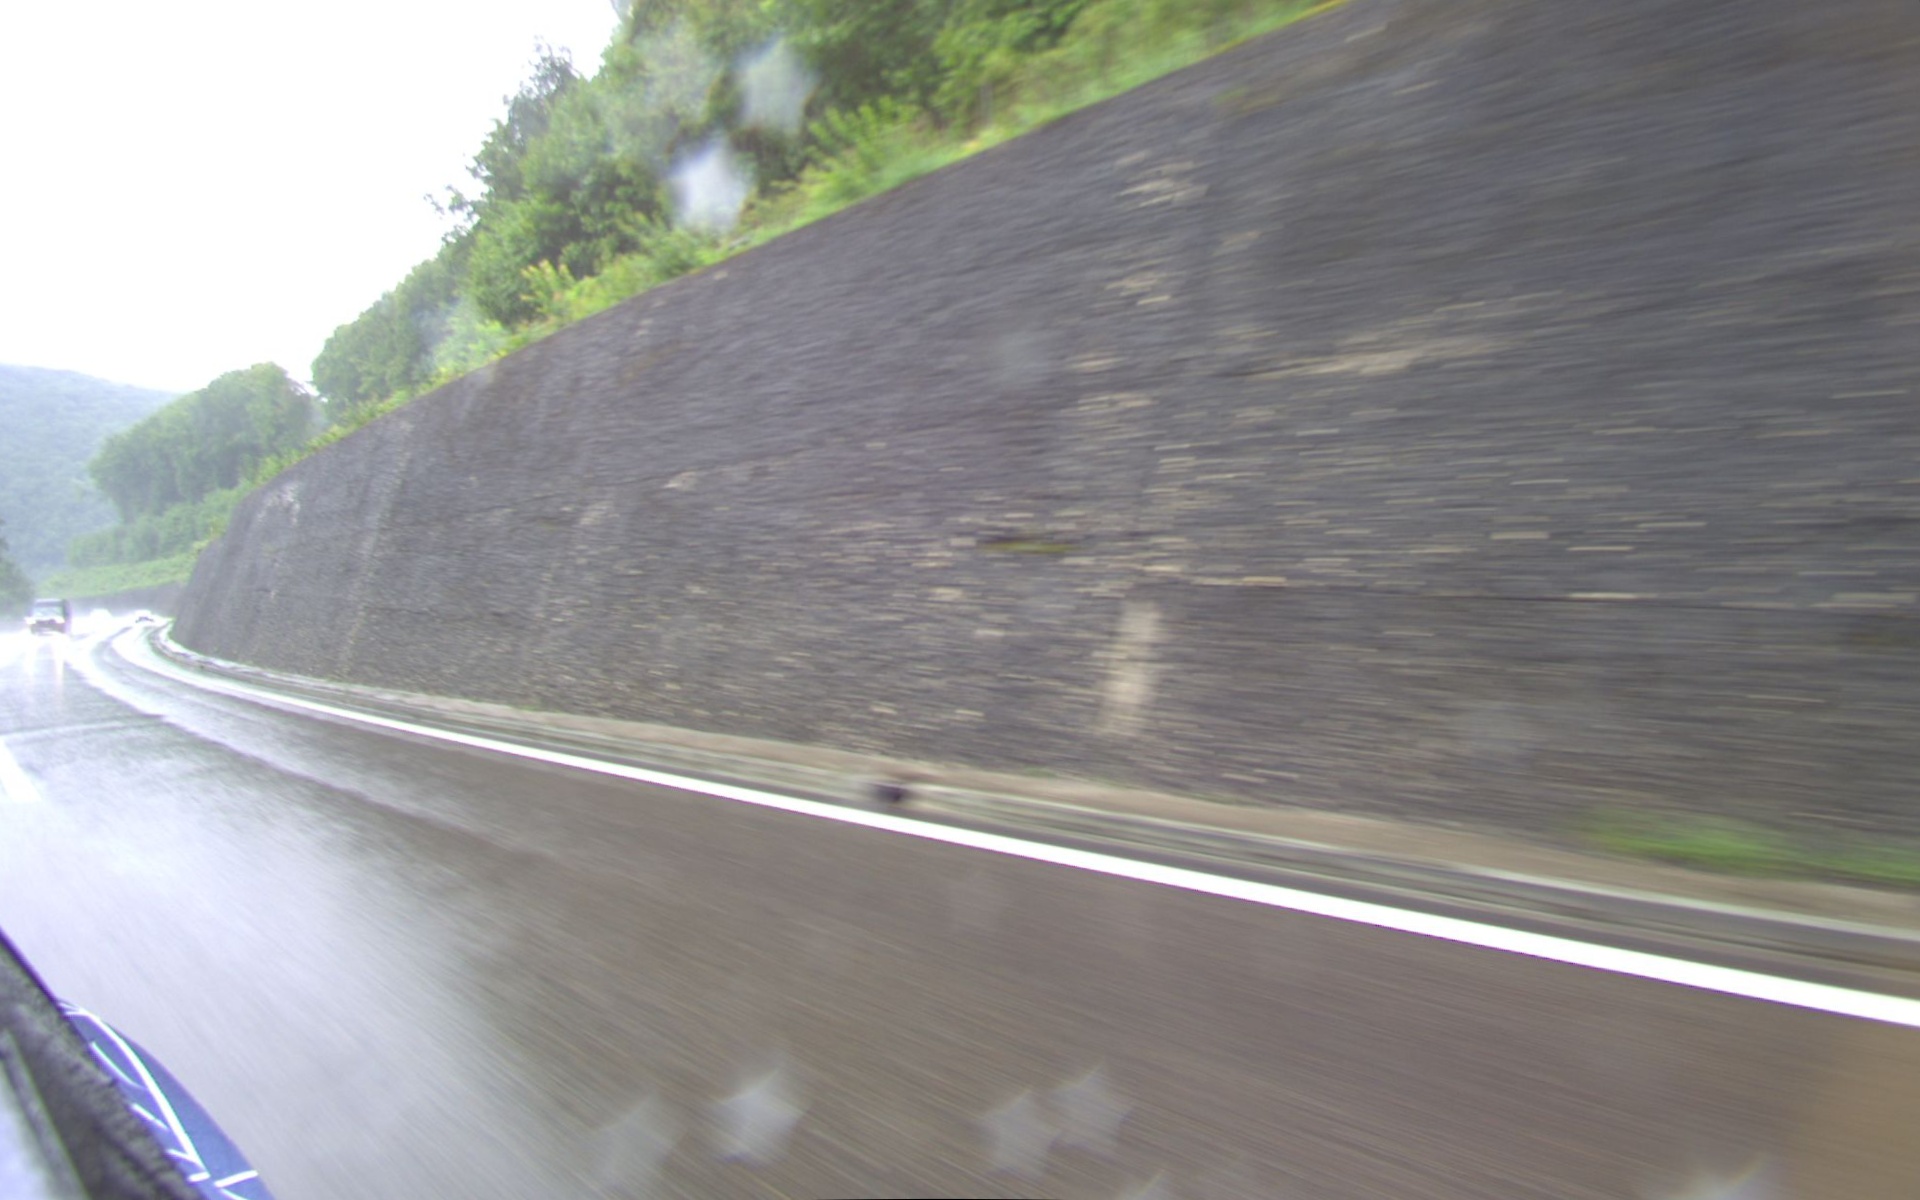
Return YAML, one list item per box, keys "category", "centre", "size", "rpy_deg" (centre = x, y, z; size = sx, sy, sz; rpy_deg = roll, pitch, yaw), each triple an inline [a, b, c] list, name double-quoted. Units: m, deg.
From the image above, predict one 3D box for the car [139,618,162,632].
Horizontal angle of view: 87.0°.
- category: "car"
  centre: [-97.709, 2.979, 122.176]
  size: [1.709, 1.678, 3.877]
  rpy_deg: [-1, 0, -33]

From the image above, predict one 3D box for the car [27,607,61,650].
- category: "car"
  centre: [-68.195, 2.110, 75.387]
  size: [1.716, 3.048, 4.006]
  rpy_deg: [-1, 0, -41]
